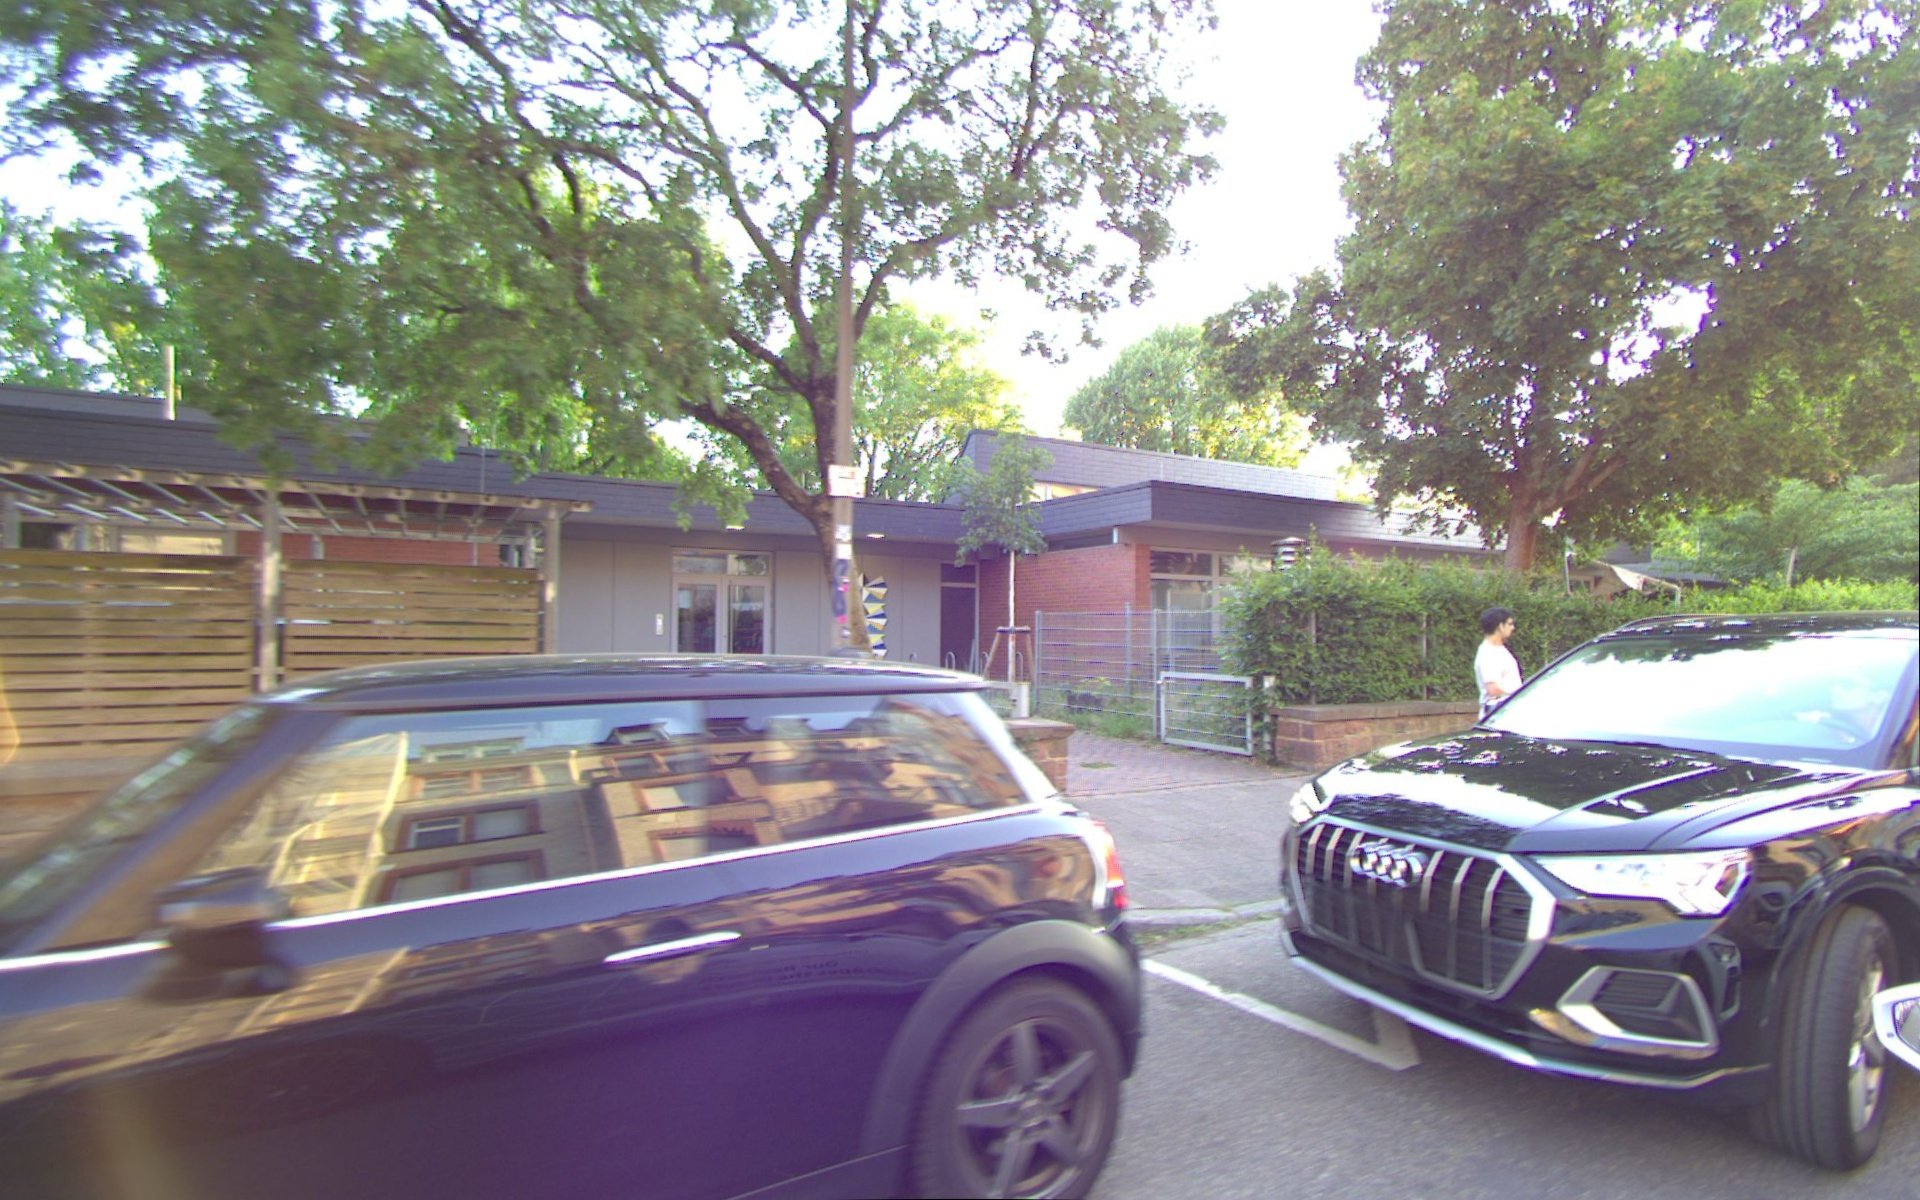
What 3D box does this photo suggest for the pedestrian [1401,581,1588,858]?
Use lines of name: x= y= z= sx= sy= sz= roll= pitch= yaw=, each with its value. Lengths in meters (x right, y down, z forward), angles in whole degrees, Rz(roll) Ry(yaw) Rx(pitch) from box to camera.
pedestrian: x=3.879 y=0.809 z=7.323 sx=0.778 sy=1.855 sz=0.933 roll=1 pitch=-1 yaw=-31

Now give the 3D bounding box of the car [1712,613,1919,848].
car: x=8.329 y=0.988 z=8.372 sx=3.950 sy=1.652 sz=1.777 roll=1 pitch=-4 yaw=-28

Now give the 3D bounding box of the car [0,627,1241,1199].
car: x=-1.359 y=0.841 z=2.437 sx=3.944 sy=1.497 sz=1.630 roll=1 pitch=-3 yaw=-29

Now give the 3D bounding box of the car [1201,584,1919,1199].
car: x=3.373 y=0.835 z=4.074 sx=4.500 sy=1.590 sz=1.800 roll=1 pitch=-2 yaw=-23
